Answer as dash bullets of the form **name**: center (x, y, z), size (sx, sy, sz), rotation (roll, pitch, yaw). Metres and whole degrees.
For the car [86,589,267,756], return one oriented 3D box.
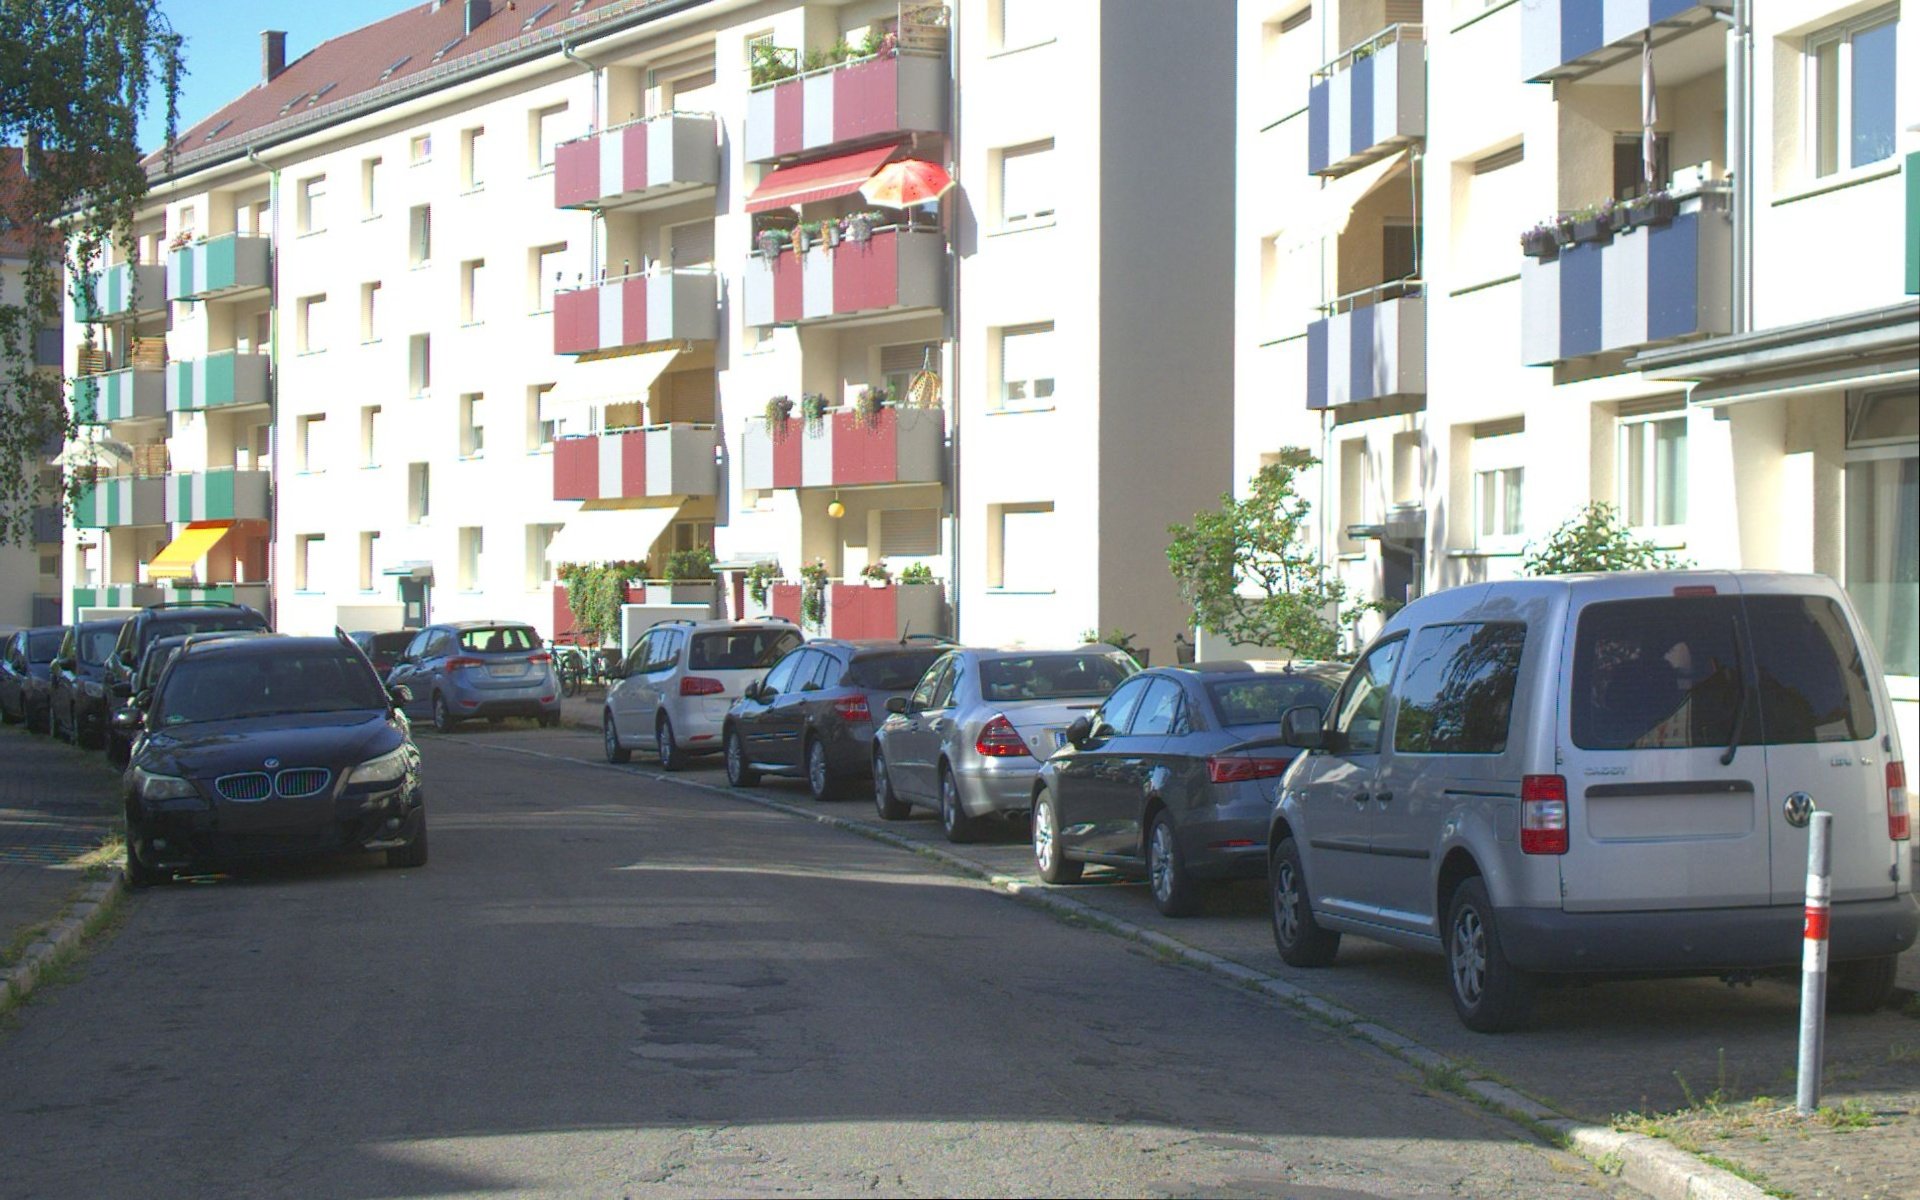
- **car**: center (-8.923, 0.787, 38.958), size (1.555, 1.708, 4.338), rotation (-3, 0, -18)

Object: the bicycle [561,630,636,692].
- **bicycle**: center (-6.344, 1.065, 60.222), size (0.617, 0.975, 1.896), rotation (-3, 3, -27)

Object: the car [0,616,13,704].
- **car**: center (-17.659, 1.017, 59.375), size (1.569, 1.459, 4.262), rotation (-2, 1, -28)

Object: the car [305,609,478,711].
- **car**: center (-9.246, 0.935, 55.695), size (1.735, 1.503, 3.886), rotation (-3, 1, -25)

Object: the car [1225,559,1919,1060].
- **car**: center (2.570, 0.784, 15.115), size (1.746, 1.818, 4.132), rotation (-2, 0, -10)

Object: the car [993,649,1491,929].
- **car**: center (1.547, 1.038, 20.671), size (1.677, 1.402, 4.547), rotation (0, 0, -13)

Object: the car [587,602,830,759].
- **car**: center (-2.925, 0.920, 39.081), size (1.693, 1.650, 4.391), rotation (-1, -1, -19)

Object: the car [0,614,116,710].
- **car**: center (-14.243, 0.923, 52.876), size (1.693, 1.384, 4.157), rotation (0, 0, -25)

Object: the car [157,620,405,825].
- **car**: center (-5.580, 0.929, 27.917), size (1.677, 1.437, 4.281), rotation (-3, 0, -14)

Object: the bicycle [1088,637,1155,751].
- **bicycle**: center (1.790, 1.029, 38.294), size (0.514, 1.198, 1.761), rotation (-1, 0, -4)

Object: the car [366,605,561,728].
- **car**: center (-7.413, 0.947, 51.039), size (1.765, 1.630, 4.042), rotation (-2, 2, -25)

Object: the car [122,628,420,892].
- **car**: center (-4.518, 0.964, 22.733), size (1.677, 1.448, 4.621), rotation (-3, 0, -11)

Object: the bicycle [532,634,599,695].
- **bicycle**: center (-6.859, 1.107, 59.721), size (0.497, 1.016, 1.842), rotation (-2, 0, -28)

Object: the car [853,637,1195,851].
- **car**: center (0.390, 1.044, 26.808), size (1.677, 1.442, 4.725), rotation (0, 0, -12)

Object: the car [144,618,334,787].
- **car**: center (-6.998, 0.936, 33.123), size (1.555, 1.437, 3.969), rotation (-3, 0, -14)

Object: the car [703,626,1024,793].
- **car**: center (-1.006, 0.985, 32.601), size (1.693, 1.427, 4.689), rotation (-1, 0, -19)
